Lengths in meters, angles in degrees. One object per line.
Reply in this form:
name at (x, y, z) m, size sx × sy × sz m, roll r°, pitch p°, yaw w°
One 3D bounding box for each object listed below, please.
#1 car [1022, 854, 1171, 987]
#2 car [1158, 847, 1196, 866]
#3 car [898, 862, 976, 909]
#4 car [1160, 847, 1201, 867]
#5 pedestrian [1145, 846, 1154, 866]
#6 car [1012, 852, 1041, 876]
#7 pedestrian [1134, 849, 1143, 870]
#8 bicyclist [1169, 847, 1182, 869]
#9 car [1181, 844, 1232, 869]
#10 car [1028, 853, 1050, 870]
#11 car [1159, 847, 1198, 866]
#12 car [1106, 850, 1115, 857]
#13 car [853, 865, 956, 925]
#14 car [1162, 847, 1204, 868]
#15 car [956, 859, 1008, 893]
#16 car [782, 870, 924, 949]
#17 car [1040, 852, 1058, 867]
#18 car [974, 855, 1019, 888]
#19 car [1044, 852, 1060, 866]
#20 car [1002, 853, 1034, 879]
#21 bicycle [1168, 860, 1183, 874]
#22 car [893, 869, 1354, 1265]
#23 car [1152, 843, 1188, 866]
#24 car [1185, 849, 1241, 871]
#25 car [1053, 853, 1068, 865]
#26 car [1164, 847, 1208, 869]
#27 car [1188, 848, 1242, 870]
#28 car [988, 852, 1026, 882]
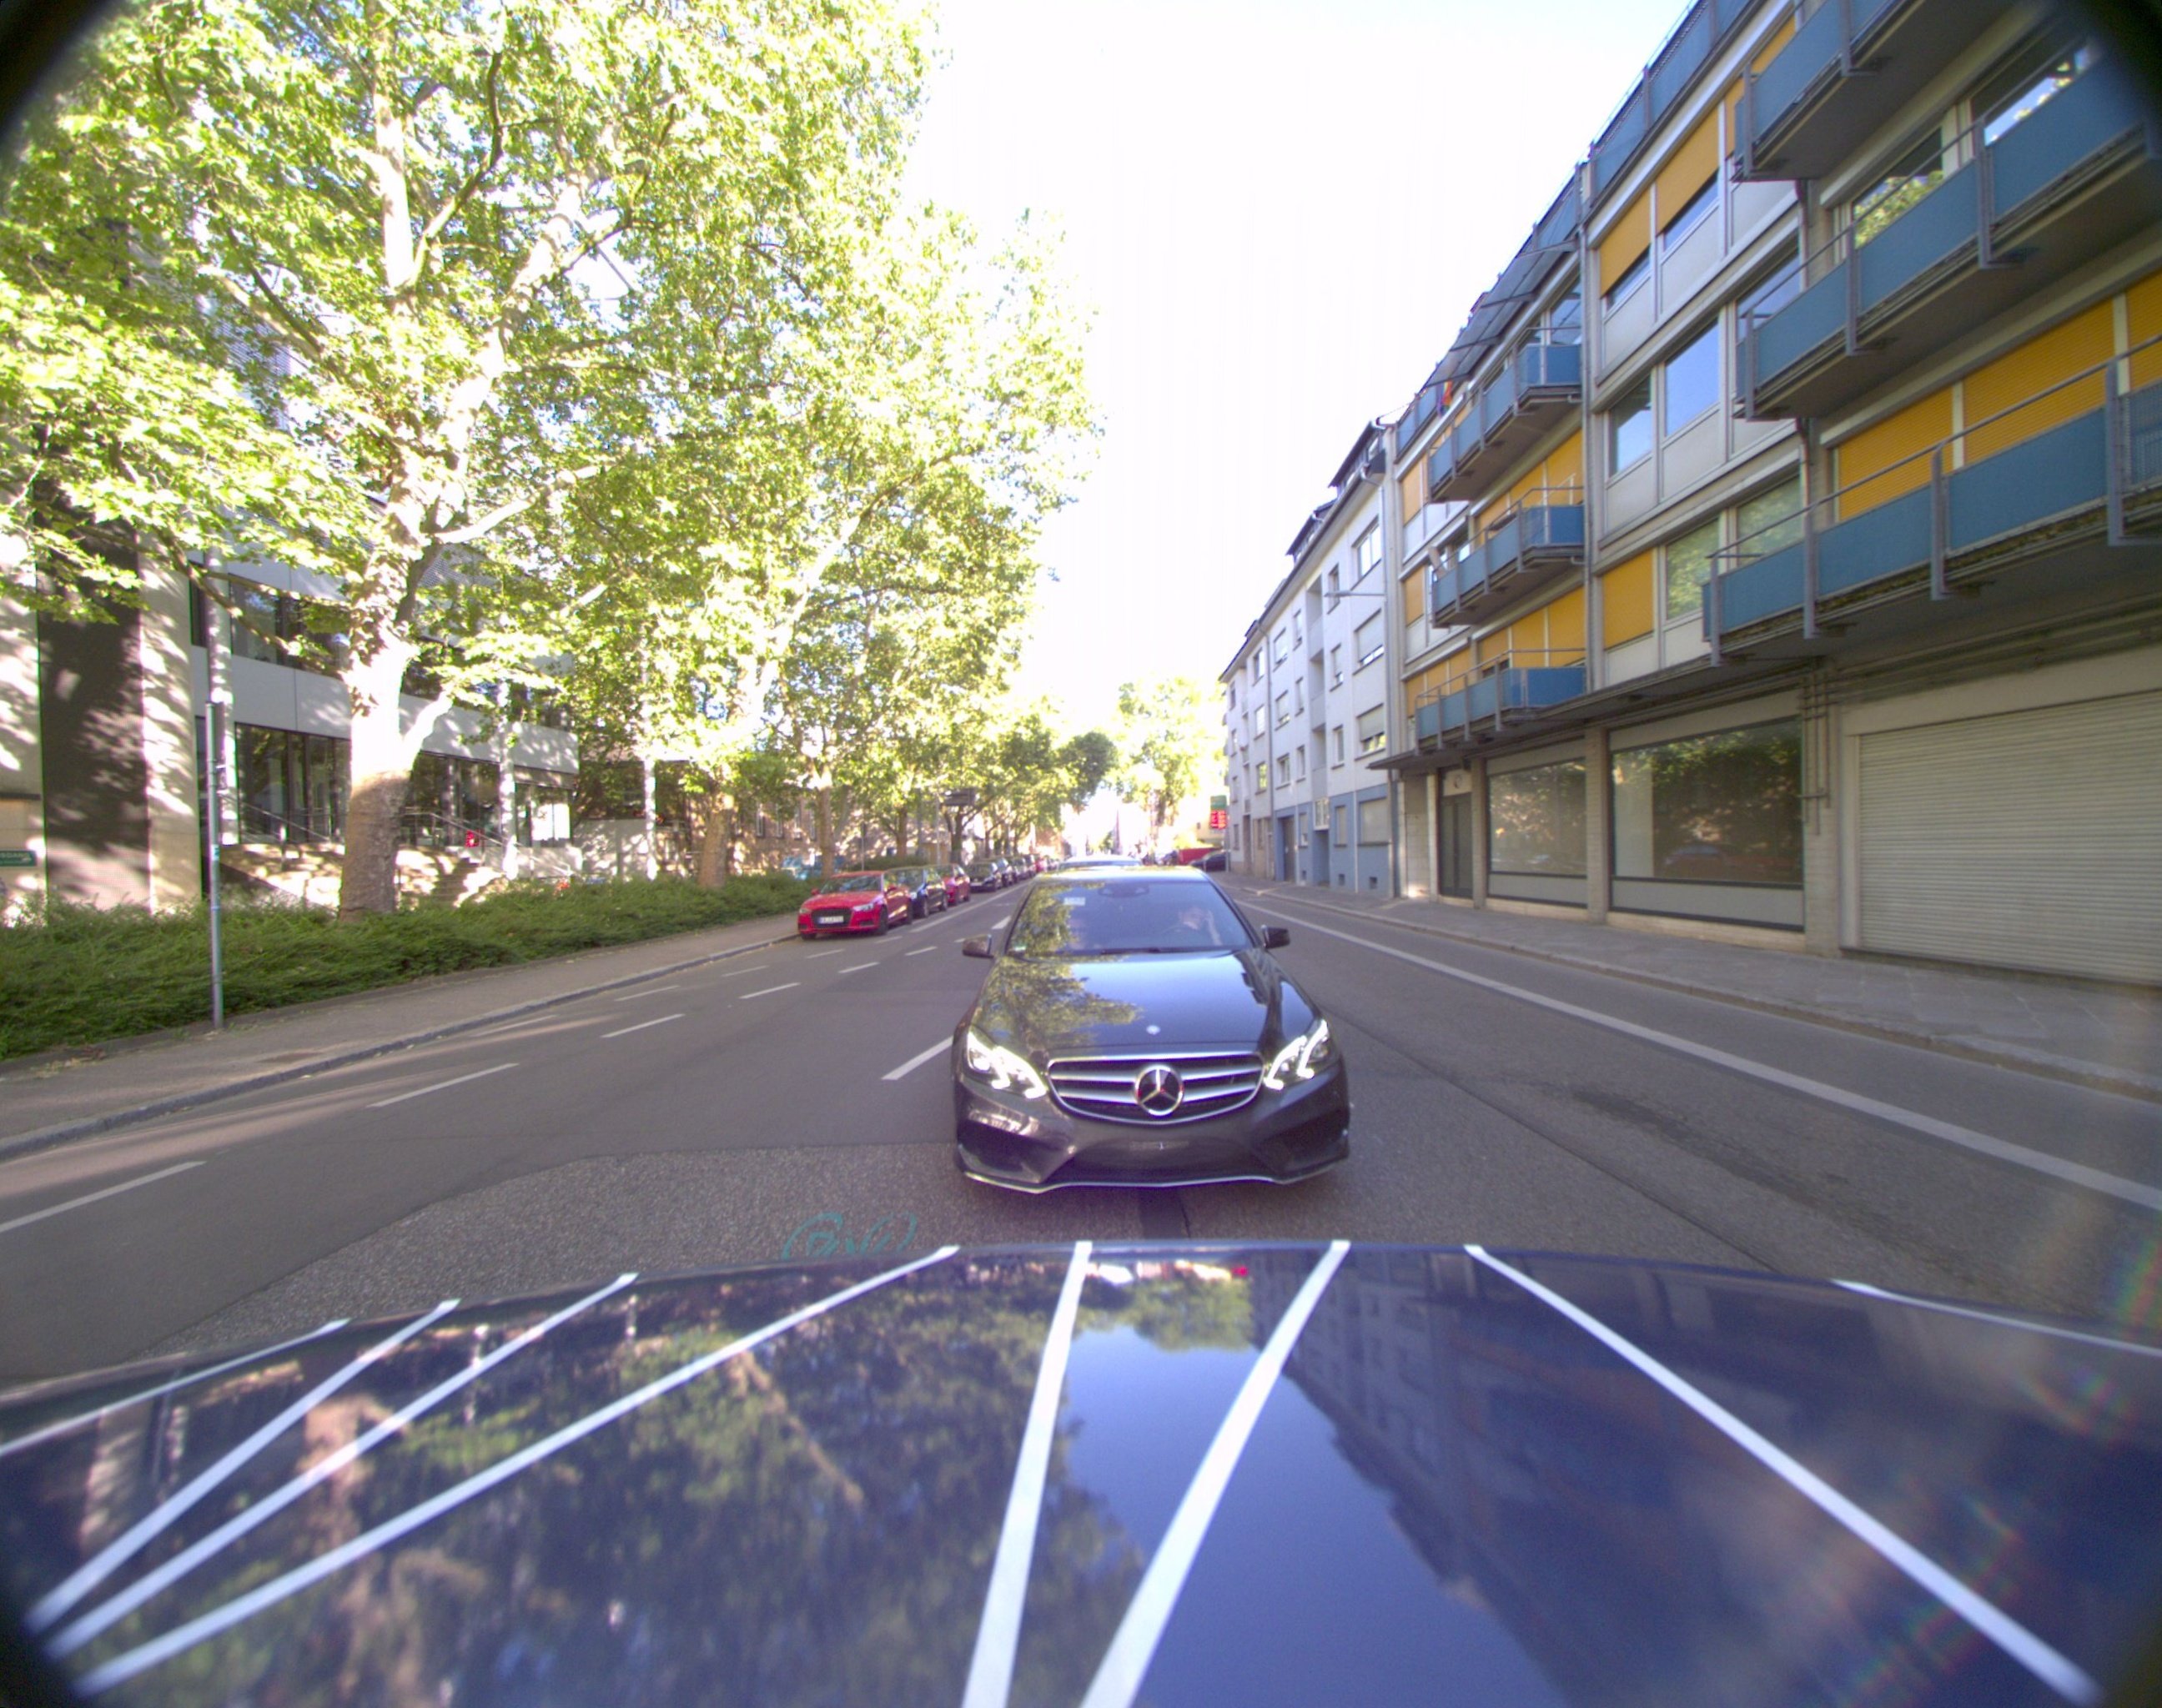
car at (0.227, 0.859, 11.922) m, size 1.866 × 1.630 × 4.303 m, roll -2°, pitch 0°, yaw 1°
car at (10.739, 0.252, 84.971) m, size 3.996 × 1.936 × 2.000 m, roll -2°, pitch 1°, yaw 2°
car at (-5.085, 1.067, 27.417) m, size 1.866 × 1.442 × 4.481 m, roll -2°, pitch 0°, yaw 1°
car at (10.464, 0.318, 79.989) m, size 3.996 × 1.936 × 2.000 m, roll -2°, pitch 1°, yaw 2°
pedestrian at (6.888, 0.211, 76.271) m, size 0.734 × 2.002 × 1.046 m, roll -2°, pitch 1°, yaw 2°
car at (-4.243, 0.761, 59.747) m, size 1.866 × 1.749 × 4.481 m, roll -2°, pitch 0°, yaw 1°
pedestrian at (5.786, 0.548, 76.696) m, size 0.735 × 2.002 × 0.797 m, roll -2°, pitch 1°, yaw 1°
bicyclist at (6.457, 0.288, 52.192) m, size 0.755 × 1.442 × 0.796 m, roll -2°, pitch 1°, yaw 1°
car at (10.551, 0.163, 64.015) m, size 3.996 × 1.936 × 2.000 m, roll -2°, pitch 1°, yaw 2°
car at (-4.196, 0.711, 76.270) m, size 1.866 × 1.632 × 4.481 m, roll -2°, pitch 0°, yaw 1°
car at (10.593, 0.285, 82.477) m, size 3.996 × 1.936 × 2.000 m, roll -2°, pitch 1°, yaw 2°
car at (7.118, -0.153, 182.239) m, size 1.866 × 1.632 × 4.481 m, roll -2°, pitch 0°, yaw 1°
car at (-5.041, 1.125, 22.373) m, size 1.866 × 1.442 × 4.481 m, roll -2°, pitch 0°, yaw 1°
car at (10.335, 0.354, 77.138) m, size 3.996 × 1.936 × 2.000 m, roll -2°, pitch 1°, yaw 2°
car at (-4.753, 1.027, 37.164) m, size 1.866 × 1.442 × 4.481 m, roll -2°, pitch 0°, yaw 1°
car at (-5.102, 1.179, 17.722) m, size 1.866 × 1.442 × 4.481 m, roll -2°, pitch 0°, yaw 1°
car at (-3.785, 0.643, 89.966) m, size 1.866 × 1.632 × 4.481 m, roll -2°, pitch 0°, yaw 1°
car at (-4.618, 0.910, 42.198) m, size 1.866 × 1.658 × 4.481 m, roll -2°, pitch 0°, yaw 1°
car at (-3.674, 0.583, 96.765) m, size 1.866 × 1.632 × 4.481 m, roll -2°, pitch 0°, yaw 1°
car at (-4.500, 0.823, 54.792) m, size 1.866 × 1.749 × 4.481 m, roll -2°, pitch 0°, yaw 1°
bicycle at (6.472, 0.877, 52.270) m, size 0.766 × 0.915 × 2.218 m, roll -2°, pitch 1°, yaw 1°
car at (0.207, 0.933, 5.399) m, size 1.866 × 1.492 × 4.481 m, roll -2°, pitch 0°, yaw 1°
car at (10.493, 0.014, 89.499) m, size 3.996 × 2.505 × 2.000 m, roll -2°, pitch 1°, yaw 2°
car at (10.177, 0.431, 58.862) m, size 3.996 × 1.543 × 2.000 m, roll -2°, pitch 1°, yaw 2°
car at (-2.835, 0.655, 105.175) m, size 1.866 × 1.632 × 4.481 m, roll -2°, pitch 0°, yaw 1°
car at (10.251, 0.387, 74.496) m, size 3.996 × 1.936 × 2.000 m, roll -2°, pitch 1°, yaw 2°
car at (10.718, 0.385, 61.184) m, size 3.996 × 1.543 × 2.000 m, roll -2°, pitch 1°, yaw 2°
car at (-4.630, 0.788, 48.125) m, size 1.866 × 1.749 × 4.481 m, roll -2°, pitch 0°, yaw 1°
